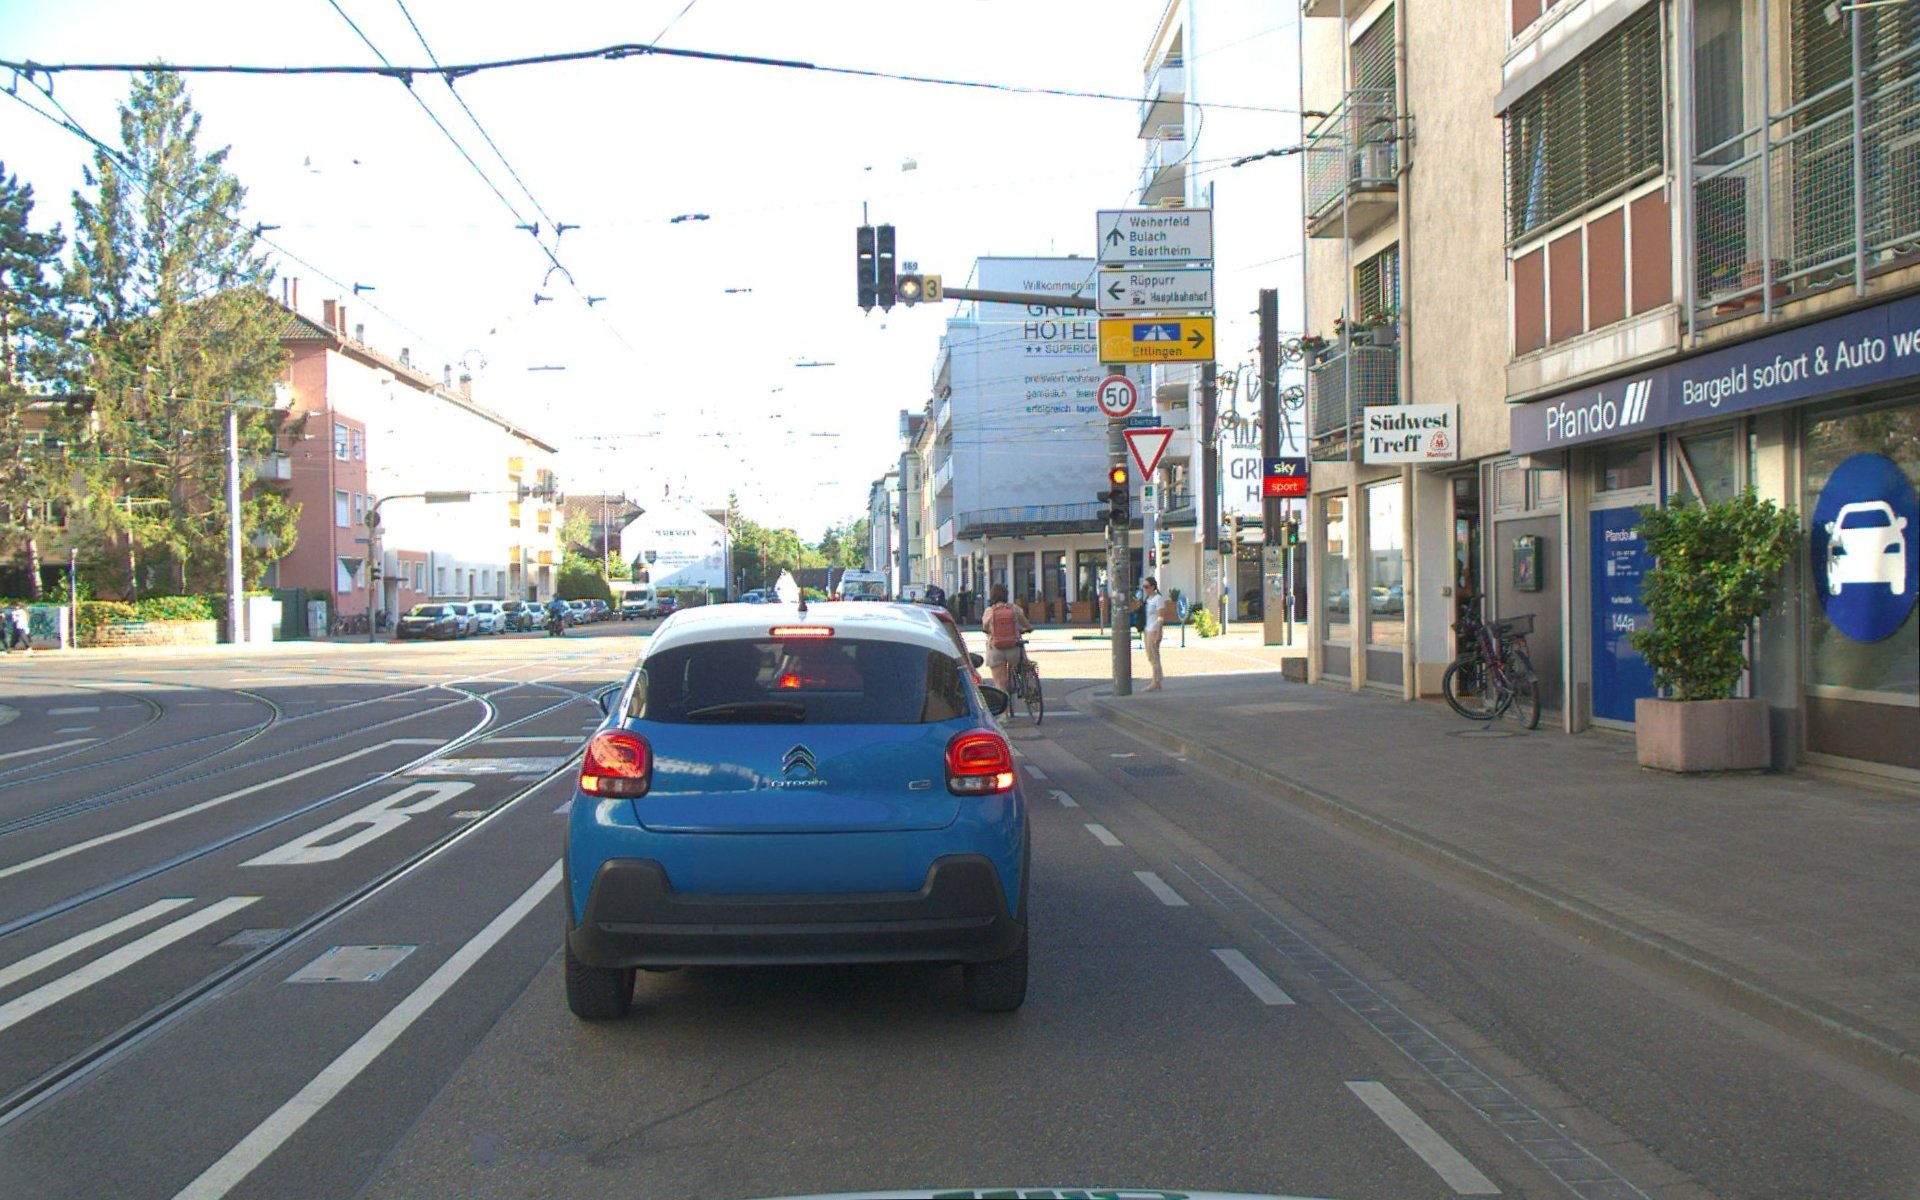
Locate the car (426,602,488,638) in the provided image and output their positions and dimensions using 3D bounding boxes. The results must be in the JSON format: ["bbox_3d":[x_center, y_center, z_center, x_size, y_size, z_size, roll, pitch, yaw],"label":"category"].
[{"bbox_3d":[-22.554,0.877,74.263,1.913,1.545,4.040,-1,0,-6],"label":"car"}]

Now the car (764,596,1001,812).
[{"bbox_3d":[-0.679,0.726,13.566,1.647,1.488,3.997,1,0,-4],"label":"car"}]

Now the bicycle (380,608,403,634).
[{"bbox_3d":[-25.673,0.942,74.699,0.597,1.101,1.908,-1,0,-7],"label":"bicycle"}]

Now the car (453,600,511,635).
[{"bbox_3d":[-22.757,0.821,78.868,1.913,1.545,3.995,-1,0,-6],"label":"car"}]

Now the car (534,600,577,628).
[{"bbox_3d":[-23.935,0.825,97.999,1.913,1.545,3.995,-1,0,-6],"label":"car"}]

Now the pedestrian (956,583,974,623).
[{"bbox_3d":[0.218,0.109,70.189,0.551,1.676,0.529,-1,0,-45],"label":"pedestrian"}]

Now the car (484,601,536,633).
[{"bbox_3d":[-23.234,0.841,85.525,1.913,1.545,3.995,-1,0,-6],"label":"car"}]

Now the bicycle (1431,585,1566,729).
[{"bbox_3d":[5.113,0.505,15.826,0.627,1.286,1.910,-1,0,-1],"label":"bicycle"}]

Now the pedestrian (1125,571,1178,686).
[{"bbox_3d":[2.825,0.413,24.415,0.735,1.663,0.740,-1,0,5],"label":"pedestrian"}]

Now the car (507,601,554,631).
[{"bbox_3d":[-23.764,0.858,91.575,1.913,1.545,3.995,-1,0,-6],"label":"car"}]

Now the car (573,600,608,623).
[{"bbox_3d":[-25.568,0.792,114.600,1.913,1.545,3.995,-1,0,-6],"label":"car"}]

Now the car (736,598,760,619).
[{"bbox_3d":[-21.813,0.814,170.499,2.293,2.074,5.044,-1,0,-6],"label":"car"}]

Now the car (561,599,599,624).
[{"bbox_3d":[-24.851,0.752,108.270,1.913,1.545,3.995,-1,0,-6],"label":"car"}]

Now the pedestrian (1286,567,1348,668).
[{"bbox_3d":[6.070,0.294,28.115,0.694,1.676,0.730,-1,0,-36],"label":"pedestrian"}]

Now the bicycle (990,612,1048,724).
[{"bbox_3d":[0.721,0.814,20.643,0.601,1.286,1.910,-1,0,-1],"label":"bicycle"}]

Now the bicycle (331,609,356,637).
[{"bbox_3d":[-24.983,0.919,66.998,0.628,1.101,1.905,-1,0,-11],"label":"bicycle"}]

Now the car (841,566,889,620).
[{"bbox_3d":[-4.232,-0.316,73.185,2.039,2.309,5.646,0,0,-4],"label":"car"}]

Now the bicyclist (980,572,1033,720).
[{"bbox_3d":[0.567,0.552,20.603,0.588,1.776,1.084,-1,0,-1],"label":"bicyclist"}]

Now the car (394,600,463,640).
[{"bbox_3d":[-22.015,0.792,68.658,1.913,1.545,3.995,-1,0,-6],"label":"car"}]

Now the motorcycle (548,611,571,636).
[{"bbox_3d":[-16.226,0.941,67.027,0.738,0.993,2.092,-1,0,-9],"label":"motorcycle"}]

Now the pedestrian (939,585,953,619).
[{"bbox_3d":[-0.586,0.087,70.000,0.459,1.445,0.525,-1,0,-13],"label":"pedestrian"}]

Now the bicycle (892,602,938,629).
[{"bbox_3d":[-1.861,0.644,68.278,1.868,1.083,0.641,-1,0,-8],"label":"bicycle"}]

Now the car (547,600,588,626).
[{"bbox_3d":[-24.409,0.810,102.996,1.913,1.545,3.995,-1,0,-6],"label":"car"}]

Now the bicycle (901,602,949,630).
[{"bbox_3d":[-1.394,0.642,65.787,1.868,1.083,0.641,-1,0,-8],"label":"bicycle"}]

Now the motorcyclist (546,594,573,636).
[{"bbox_3d":[-16.206,0.608,66.959,0.973,1.659,0.737,-1,0,-10],"label":"motorcyclist"}]

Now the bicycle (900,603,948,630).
[{"bbox_3d":[-1.447,0.667,67.091,1.868,1.083,0.641,-1,0,-8],"label":"bicycle"}]

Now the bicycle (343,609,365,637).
[{"bbox_3d":[-24.589,0.929,67.123,0.527,1.101,1.905,-1,0,-11],"label":"bicycle"}]

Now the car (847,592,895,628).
[{"bbox_3d":[-3.677,0.385,67.747,1.752,1.383,3.909,-1,0,-6],"label":"car"}]

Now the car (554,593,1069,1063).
[{"bbox_3d":[-0.613,0.730,7.357,1.647,1.488,3.997,1,0,-4],"label":"car"}]

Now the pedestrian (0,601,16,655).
[{"bbox_3d":[-31.083,0.922,53.575,0.798,1.732,0.629,-1,0,-25],"label":"pedestrian"}]

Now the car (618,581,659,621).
[{"bbox_3d":[-23.225,0.071,119.584,2.446,2.759,5.828,-1,0,-7],"label":"car"}]

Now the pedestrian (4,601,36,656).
[{"bbox_3d":[-30.253,0.901,53.246,0.798,1.732,0.602,-1,0,-25],"label":"pedestrian"}]

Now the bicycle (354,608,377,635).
[{"bbox_3d":[-25.875,0.928,71.994,0.527,1.101,1.908,-1,0,-7],"label":"bicycle"}]

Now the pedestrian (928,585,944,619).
[{"bbox_3d":[-1.011,0.092,70.245,0.514,1.445,0.547,-1,0,19],"label":"pedestrian"}]

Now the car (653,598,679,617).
[{"bbox_3d":[-25.576,0.648,144.172,1.913,1.545,3.995,-1,0,-6],"label":"car"}]
